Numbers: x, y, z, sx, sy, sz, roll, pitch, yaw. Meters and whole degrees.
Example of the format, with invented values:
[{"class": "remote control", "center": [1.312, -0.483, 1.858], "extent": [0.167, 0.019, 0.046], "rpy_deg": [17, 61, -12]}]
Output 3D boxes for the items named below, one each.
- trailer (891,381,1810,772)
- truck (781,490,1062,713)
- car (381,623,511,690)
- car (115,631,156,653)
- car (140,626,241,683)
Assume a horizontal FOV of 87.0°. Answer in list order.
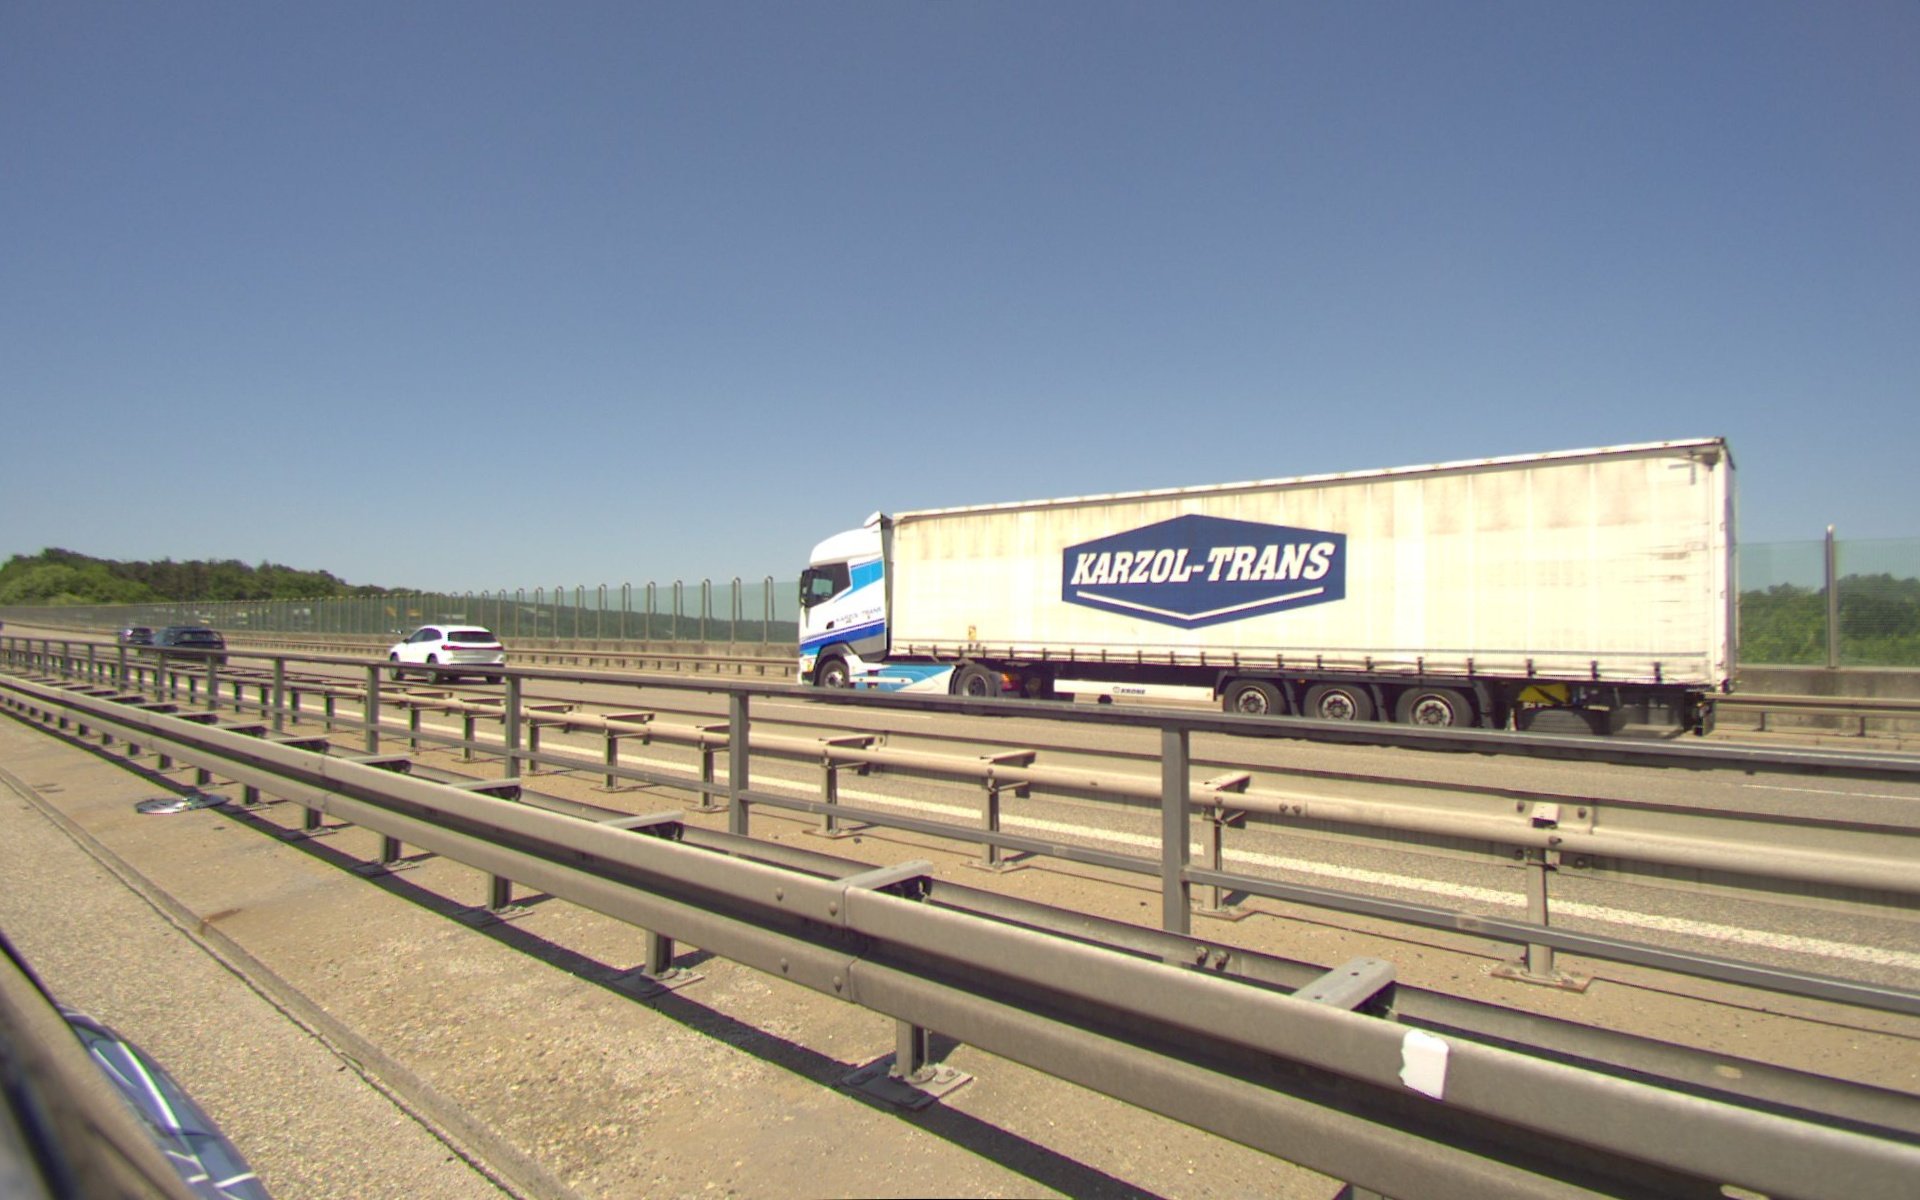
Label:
[{"class": "trailer", "center": [5.167, -0.078, 17.158], "extent": [14.033, 4.268, 3.947], "rpy_deg": [-2, -2, 41]}, {"class": "truck", "center": [-0.863, 0.114, 22.474], "extent": [4.855, 4.261, 3.965], "rpy_deg": [-2, -2, 40]}, {"class": "car", "center": [-14.498, 1.536, 28.440], "extent": [4.383, 1.709, 1.731], "rpy_deg": [-1, -3, 41]}, {"class": "car", "center": [-58.032, 2.938, 71.205], "extent": [3.540, 1.473, 1.635], "rpy_deg": [-1, -2, 41]}, {"class": "car", "center": [-24.268, 1.673, 31.872], "extent": [3.998, 1.584, 1.773], "rpy_deg": [-1, 0, 41]}]
